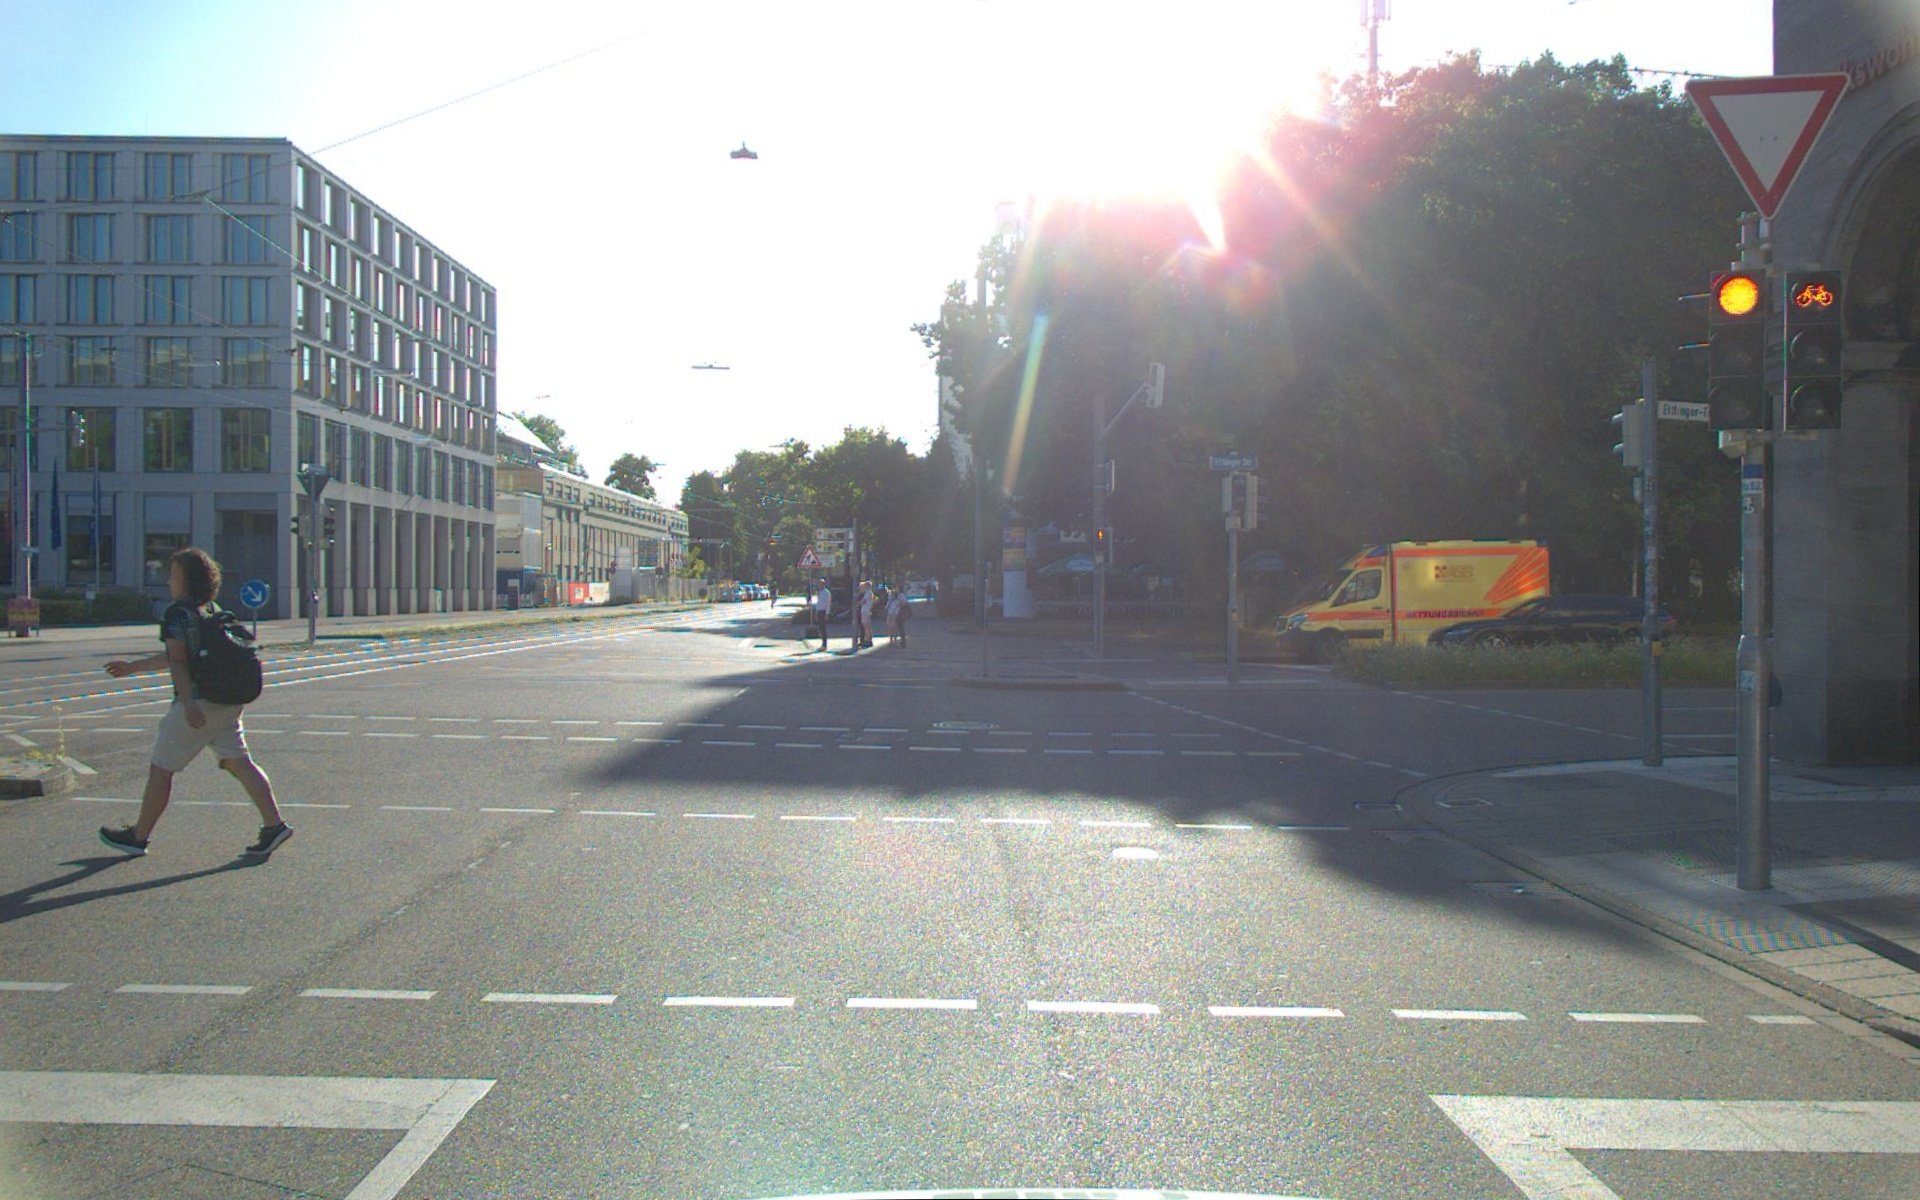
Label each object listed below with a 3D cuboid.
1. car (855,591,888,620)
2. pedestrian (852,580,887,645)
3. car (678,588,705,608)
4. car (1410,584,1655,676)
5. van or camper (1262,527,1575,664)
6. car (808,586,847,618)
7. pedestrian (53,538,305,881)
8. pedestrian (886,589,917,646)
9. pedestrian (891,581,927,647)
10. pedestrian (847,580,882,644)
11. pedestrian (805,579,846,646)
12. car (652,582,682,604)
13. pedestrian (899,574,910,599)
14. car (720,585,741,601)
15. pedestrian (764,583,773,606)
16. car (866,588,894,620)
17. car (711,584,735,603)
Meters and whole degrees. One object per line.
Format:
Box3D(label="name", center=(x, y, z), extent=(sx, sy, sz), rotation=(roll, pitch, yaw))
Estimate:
Box3D(label="car", center=(-4.926, 0.319, 91.919), extent=(1.650, 1.527, 3.508), rotation=(2, -1, -1))
Box3D(label="pedestrian", center=(-2.544, 0.345, 46.496), extent=(0.834, 1.815, 0.776), rotation=(0, 0, -17))
Box3D(label="car", center=(-23.304, -0.174, 143.872), extent=(1.782, 1.742, 3.805), rotation=(0, 0, -1))
Box3D(label="car", center=(11.396, 0.598, 33.103), extent=(4.226, 1.676, 1.887), rotation=(2, -1, -1))
Box3D(label="van or camper", center=(10.616, -0.090, 38.834), extent=(6.568, 2.912, 2.912), rotation=(2, -1, 3))
Box3D(label="car", center=(-6.507, 0.123, 81.740), extent=(1.650, 1.527, 3.508), rotation=(2, -1, -1))
Box3D(label="pedestrian", center=(-4.236, 0.557, 9.069), extent=(1.021, 1.751, 1.032), rotation=(0, 0, -12))
Box3D(label="pedestrian", center=(-1.659, 0.477, 46.603), extent=(0.750, 1.586, 0.585), rotation=(0, 0, -17))
Box3D(label="pedestrian", center=(-1.427, 0.385, 45.925), extent=(0.834, 1.815, 0.776), rotation=(0, 0, -17))
Box3D(label="pedestrian", center=(-2.744, 0.328, 47.304), extent=(0.834, 1.815, 0.776), rotation=(0, 0, -17))
Box3D(label="pedestrian", center=(-3.654, 0.332, 44.873), extent=(0.950, 1.815, 0.776), rotation=(0, 0, -17))
Box3D(label="car", center=(-23.539, -0.541, 133.095), extent=(1.782, 1.742, 3.805), rotation=(0, 0, -1))
Box3D(label="pedestrian", center=(-8.252, -1.997, 245.971), extent=(1.373, 3.660, 1.567), rotation=(2, -1, -1))
Box3D(label="car", center=(-22.151, -0.640, 159.668), extent=(1.577, 1.525, 3.805), rotation=(0, 0, -1))
Box3D(label="pedestrian", center=(-12.694, -0.358, 109.882), extent=(0.513, 1.510, 0.437), rotation=(2, -1, -2))
Box3D(label="car", center=(-5.195, 0.276, 107.528), extent=(1.650, 1.996, 3.508), rotation=(2, -1, -1))
Box3D(label="car", center=(-22.271, -0.583, 155.583), extent=(1.782, 1.742, 3.805), rotation=(0, 0, -1))
